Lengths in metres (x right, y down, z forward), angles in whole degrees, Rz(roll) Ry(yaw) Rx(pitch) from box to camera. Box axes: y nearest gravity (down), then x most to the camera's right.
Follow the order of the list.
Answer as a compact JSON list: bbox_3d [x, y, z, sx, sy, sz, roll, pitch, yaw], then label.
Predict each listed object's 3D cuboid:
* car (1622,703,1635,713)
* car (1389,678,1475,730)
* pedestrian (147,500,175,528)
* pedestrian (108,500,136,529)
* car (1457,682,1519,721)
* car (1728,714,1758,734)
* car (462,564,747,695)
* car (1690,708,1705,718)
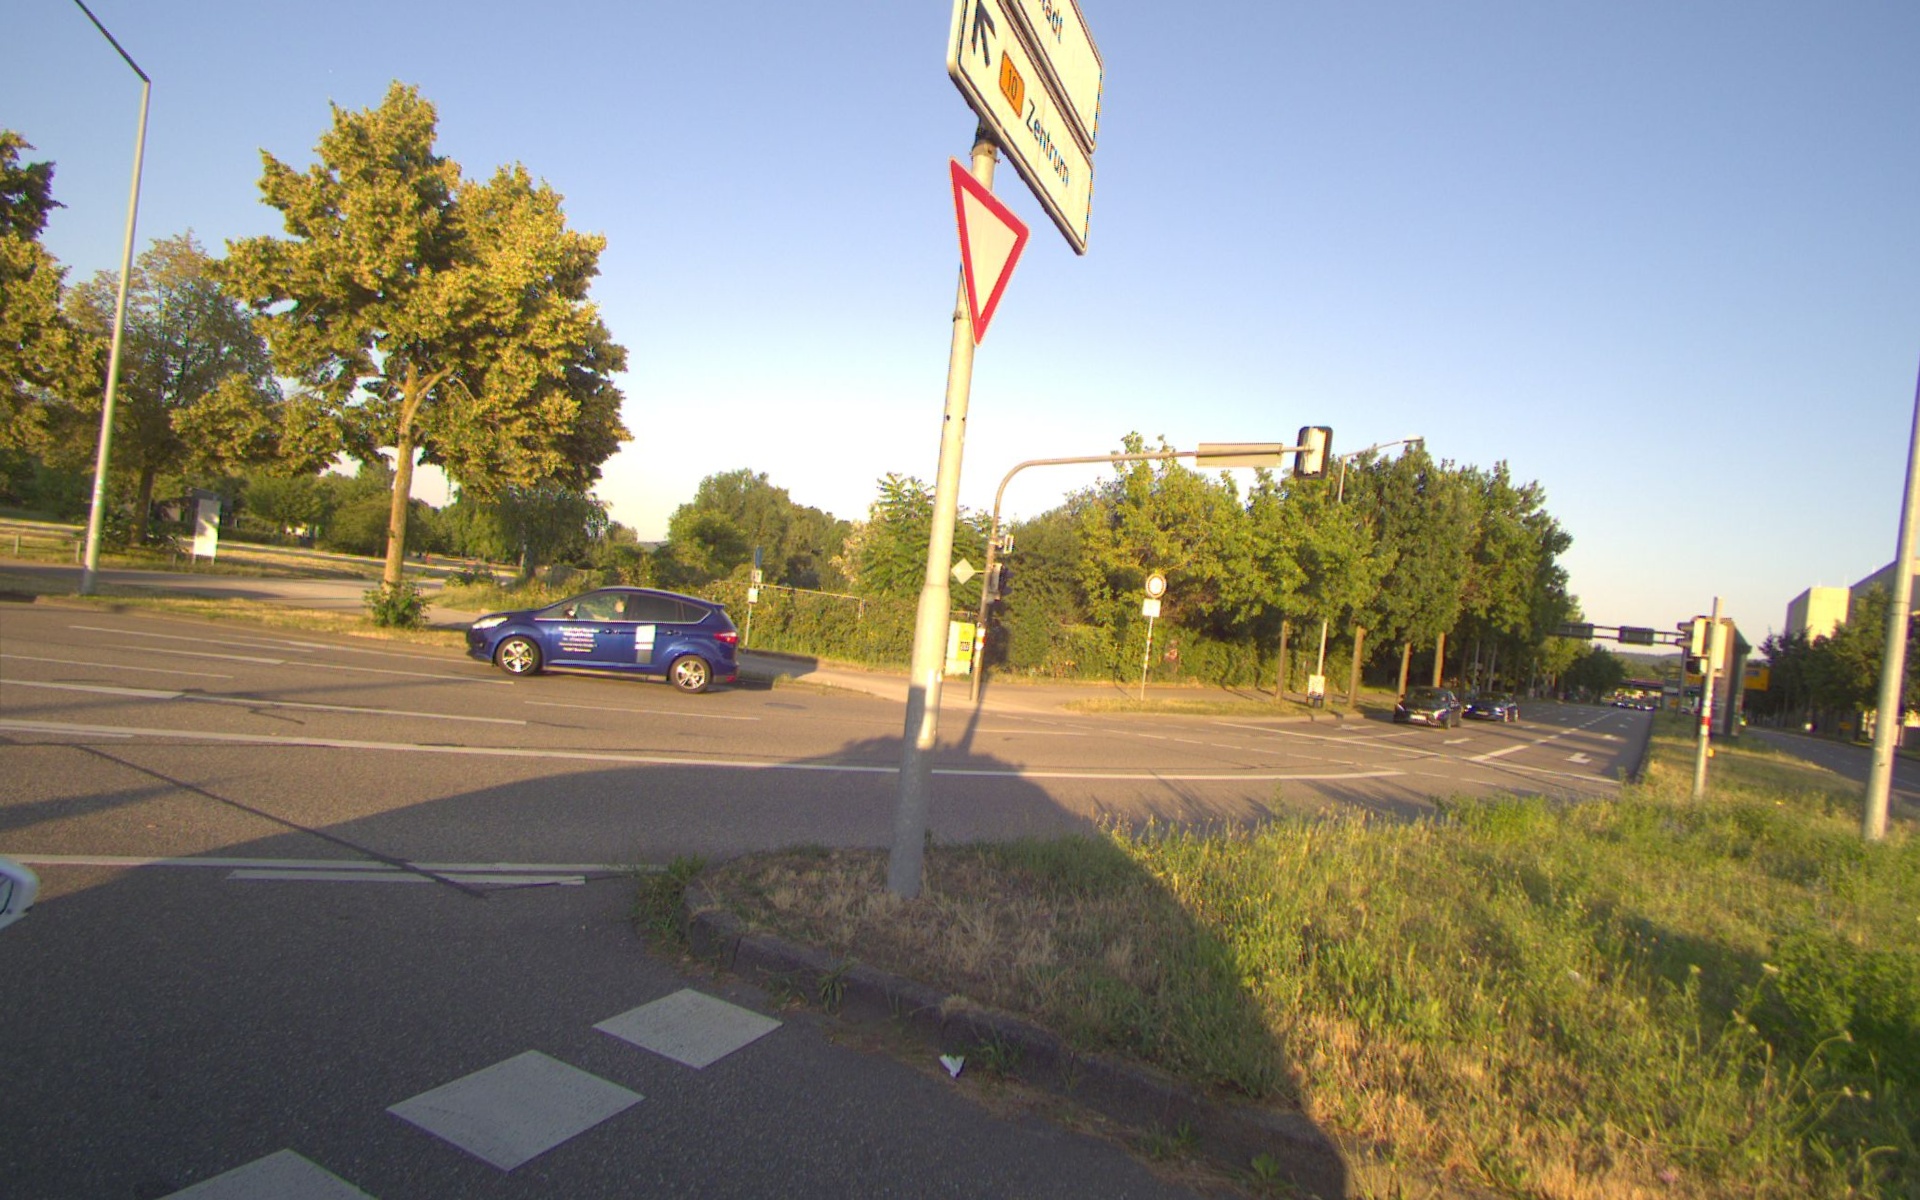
[{"bbox_3d":[136.289,22.052,205.064,1.967,1.801,3.994,6,-2,32],"label":"car"},{"bbox_3d":[17.596,3.843,37.347,1.969,1.523,4.607,7,0,35],"label":"car"},{"bbox_3d":[-52.058,-5.605,65.543,0.896,1.637,1.070,7,0,34],"label":"pedestrian"},{"bbox_3d":[-53.172,-5.449,63.821,0.896,1.637,1.070,7,0,34],"label":"pedestrian"},{"bbox_3d":[25.927,4.977,49.338,1.969,1.523,4.758,7,-1,35],"label":"car"},{"bbox_3d":[72.524,11.473,93.216,1.662,1.437,3.992,6,-1,33],"label":"car"},{"bbox_3d":[-5.805,0.494,16.839,4.118,1.602,1.909,8,-1,-17],"label":"car"},{"bbox_3d":[147.707,22.556,201.511,1.968,1.648,3.990,7,-1,34],"label":"car"}]
